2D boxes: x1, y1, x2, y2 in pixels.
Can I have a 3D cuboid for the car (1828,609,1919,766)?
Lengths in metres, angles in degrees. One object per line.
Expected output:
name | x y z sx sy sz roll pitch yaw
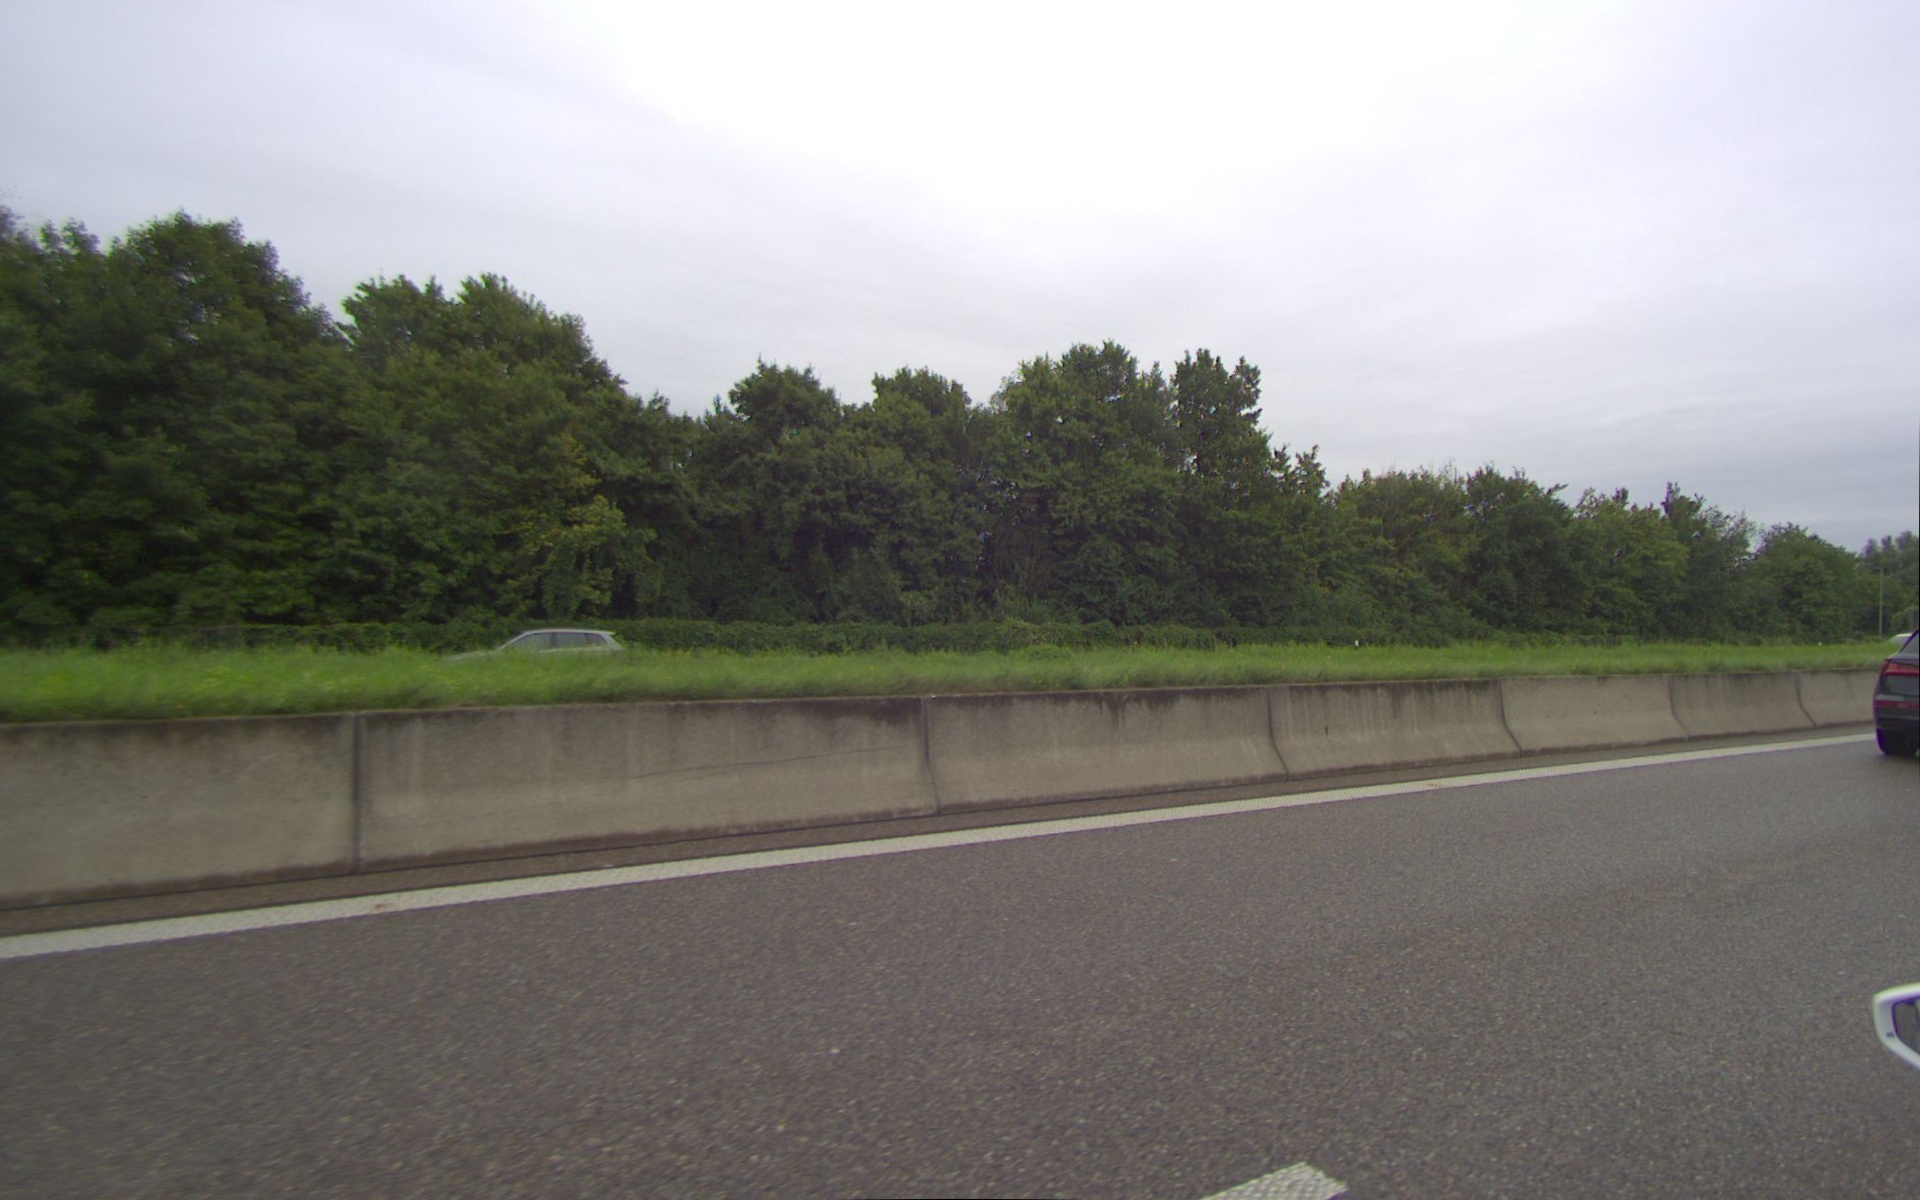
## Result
car | 12.288 0.996 11.555 5.064 1.621 1.983 2 0 -31

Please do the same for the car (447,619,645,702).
car | -10.041 1.432 24.414 4.251 1.812 1.985 2 0 -29
